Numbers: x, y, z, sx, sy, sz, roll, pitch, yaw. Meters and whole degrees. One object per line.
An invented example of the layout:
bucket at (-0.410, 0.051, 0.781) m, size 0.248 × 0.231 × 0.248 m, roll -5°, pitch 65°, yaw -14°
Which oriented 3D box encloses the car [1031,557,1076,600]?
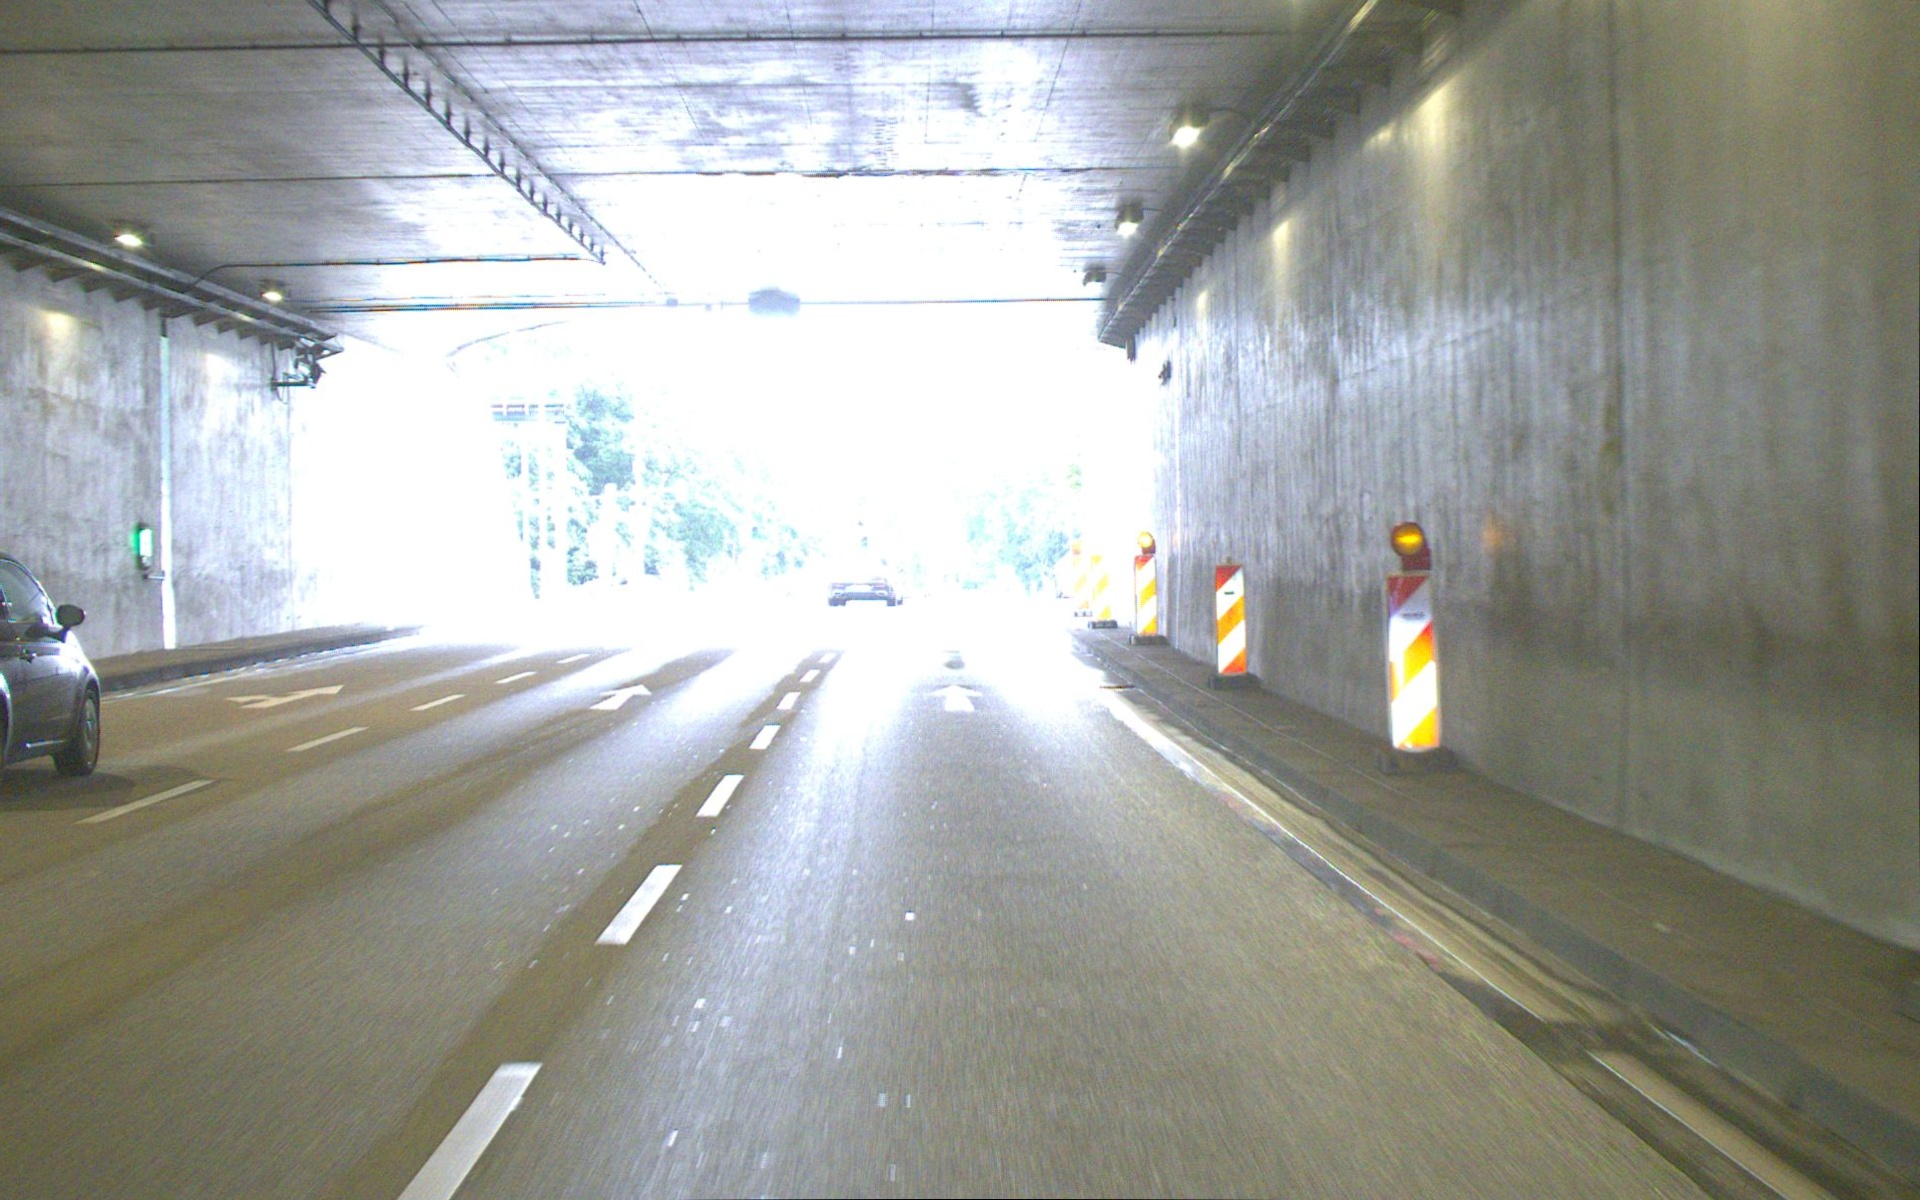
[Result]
car at (4.440, -1.009, 163.904) m, size 1.993 × 2.007 × 4.000 m, roll 0°, pitch 0°, yaw -1°

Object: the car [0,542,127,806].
car at (-6.195, 0.393, 20.645) m, size 1.612 × 1.449 × 3.573 m, roll -1°, pitch 1°, yaw -2°

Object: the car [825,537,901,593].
car at (-2.663, -0.939, 93.672) m, size 1.993 × 1.443 × 4.315 m, roll 0°, pitch 0°, yaw -3°
